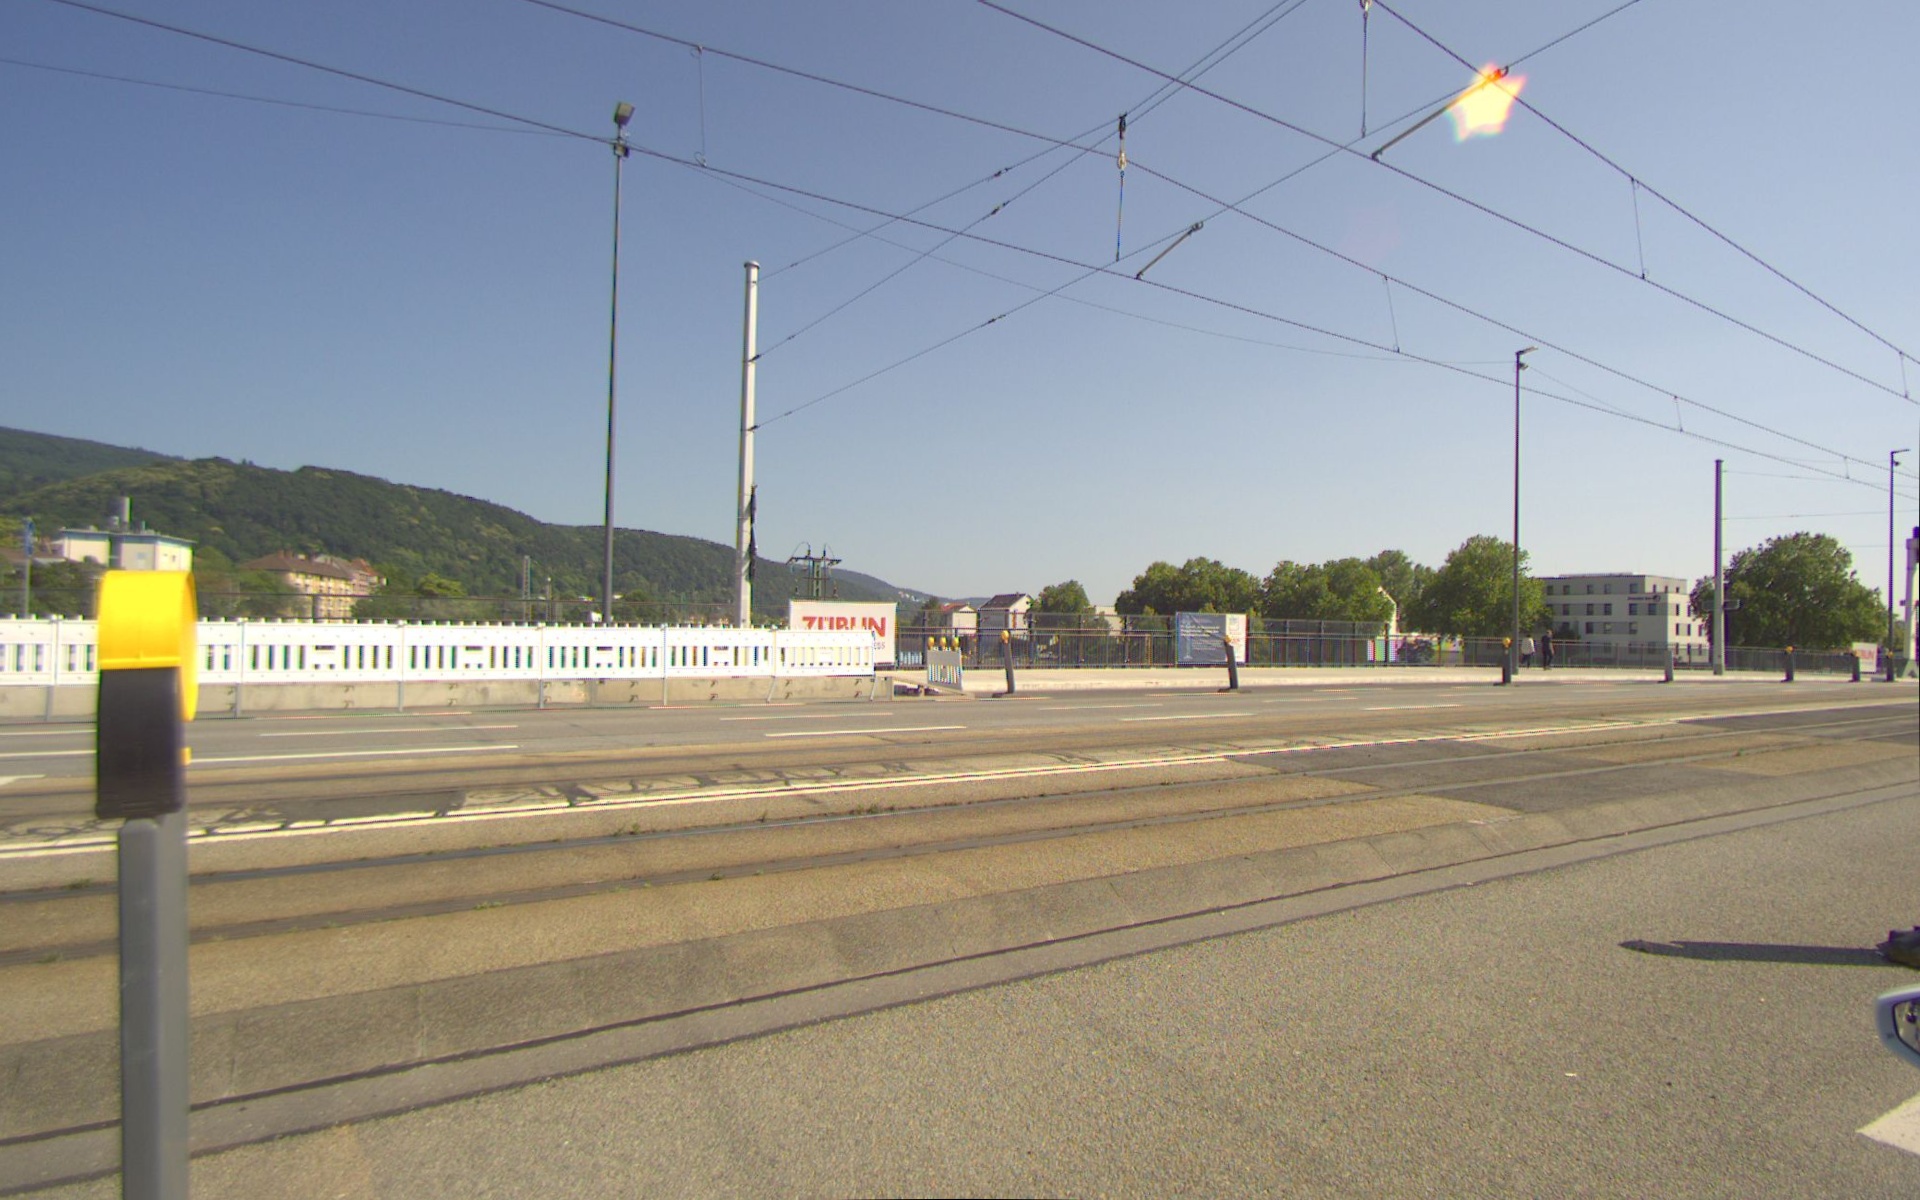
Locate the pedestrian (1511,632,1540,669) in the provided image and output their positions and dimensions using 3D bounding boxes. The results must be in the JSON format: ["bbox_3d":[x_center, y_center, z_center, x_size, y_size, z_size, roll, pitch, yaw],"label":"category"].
[{"bbox_3d":[25.371,2.267,45.072,0.878,1.565,0.716,2,1,-30],"label":"pedestrian"}]

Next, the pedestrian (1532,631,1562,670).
[{"bbox_3d":[25.793,2.220,44.159,0.884,1.663,0.740,2,1,-30],"label":"pedestrian"}]
